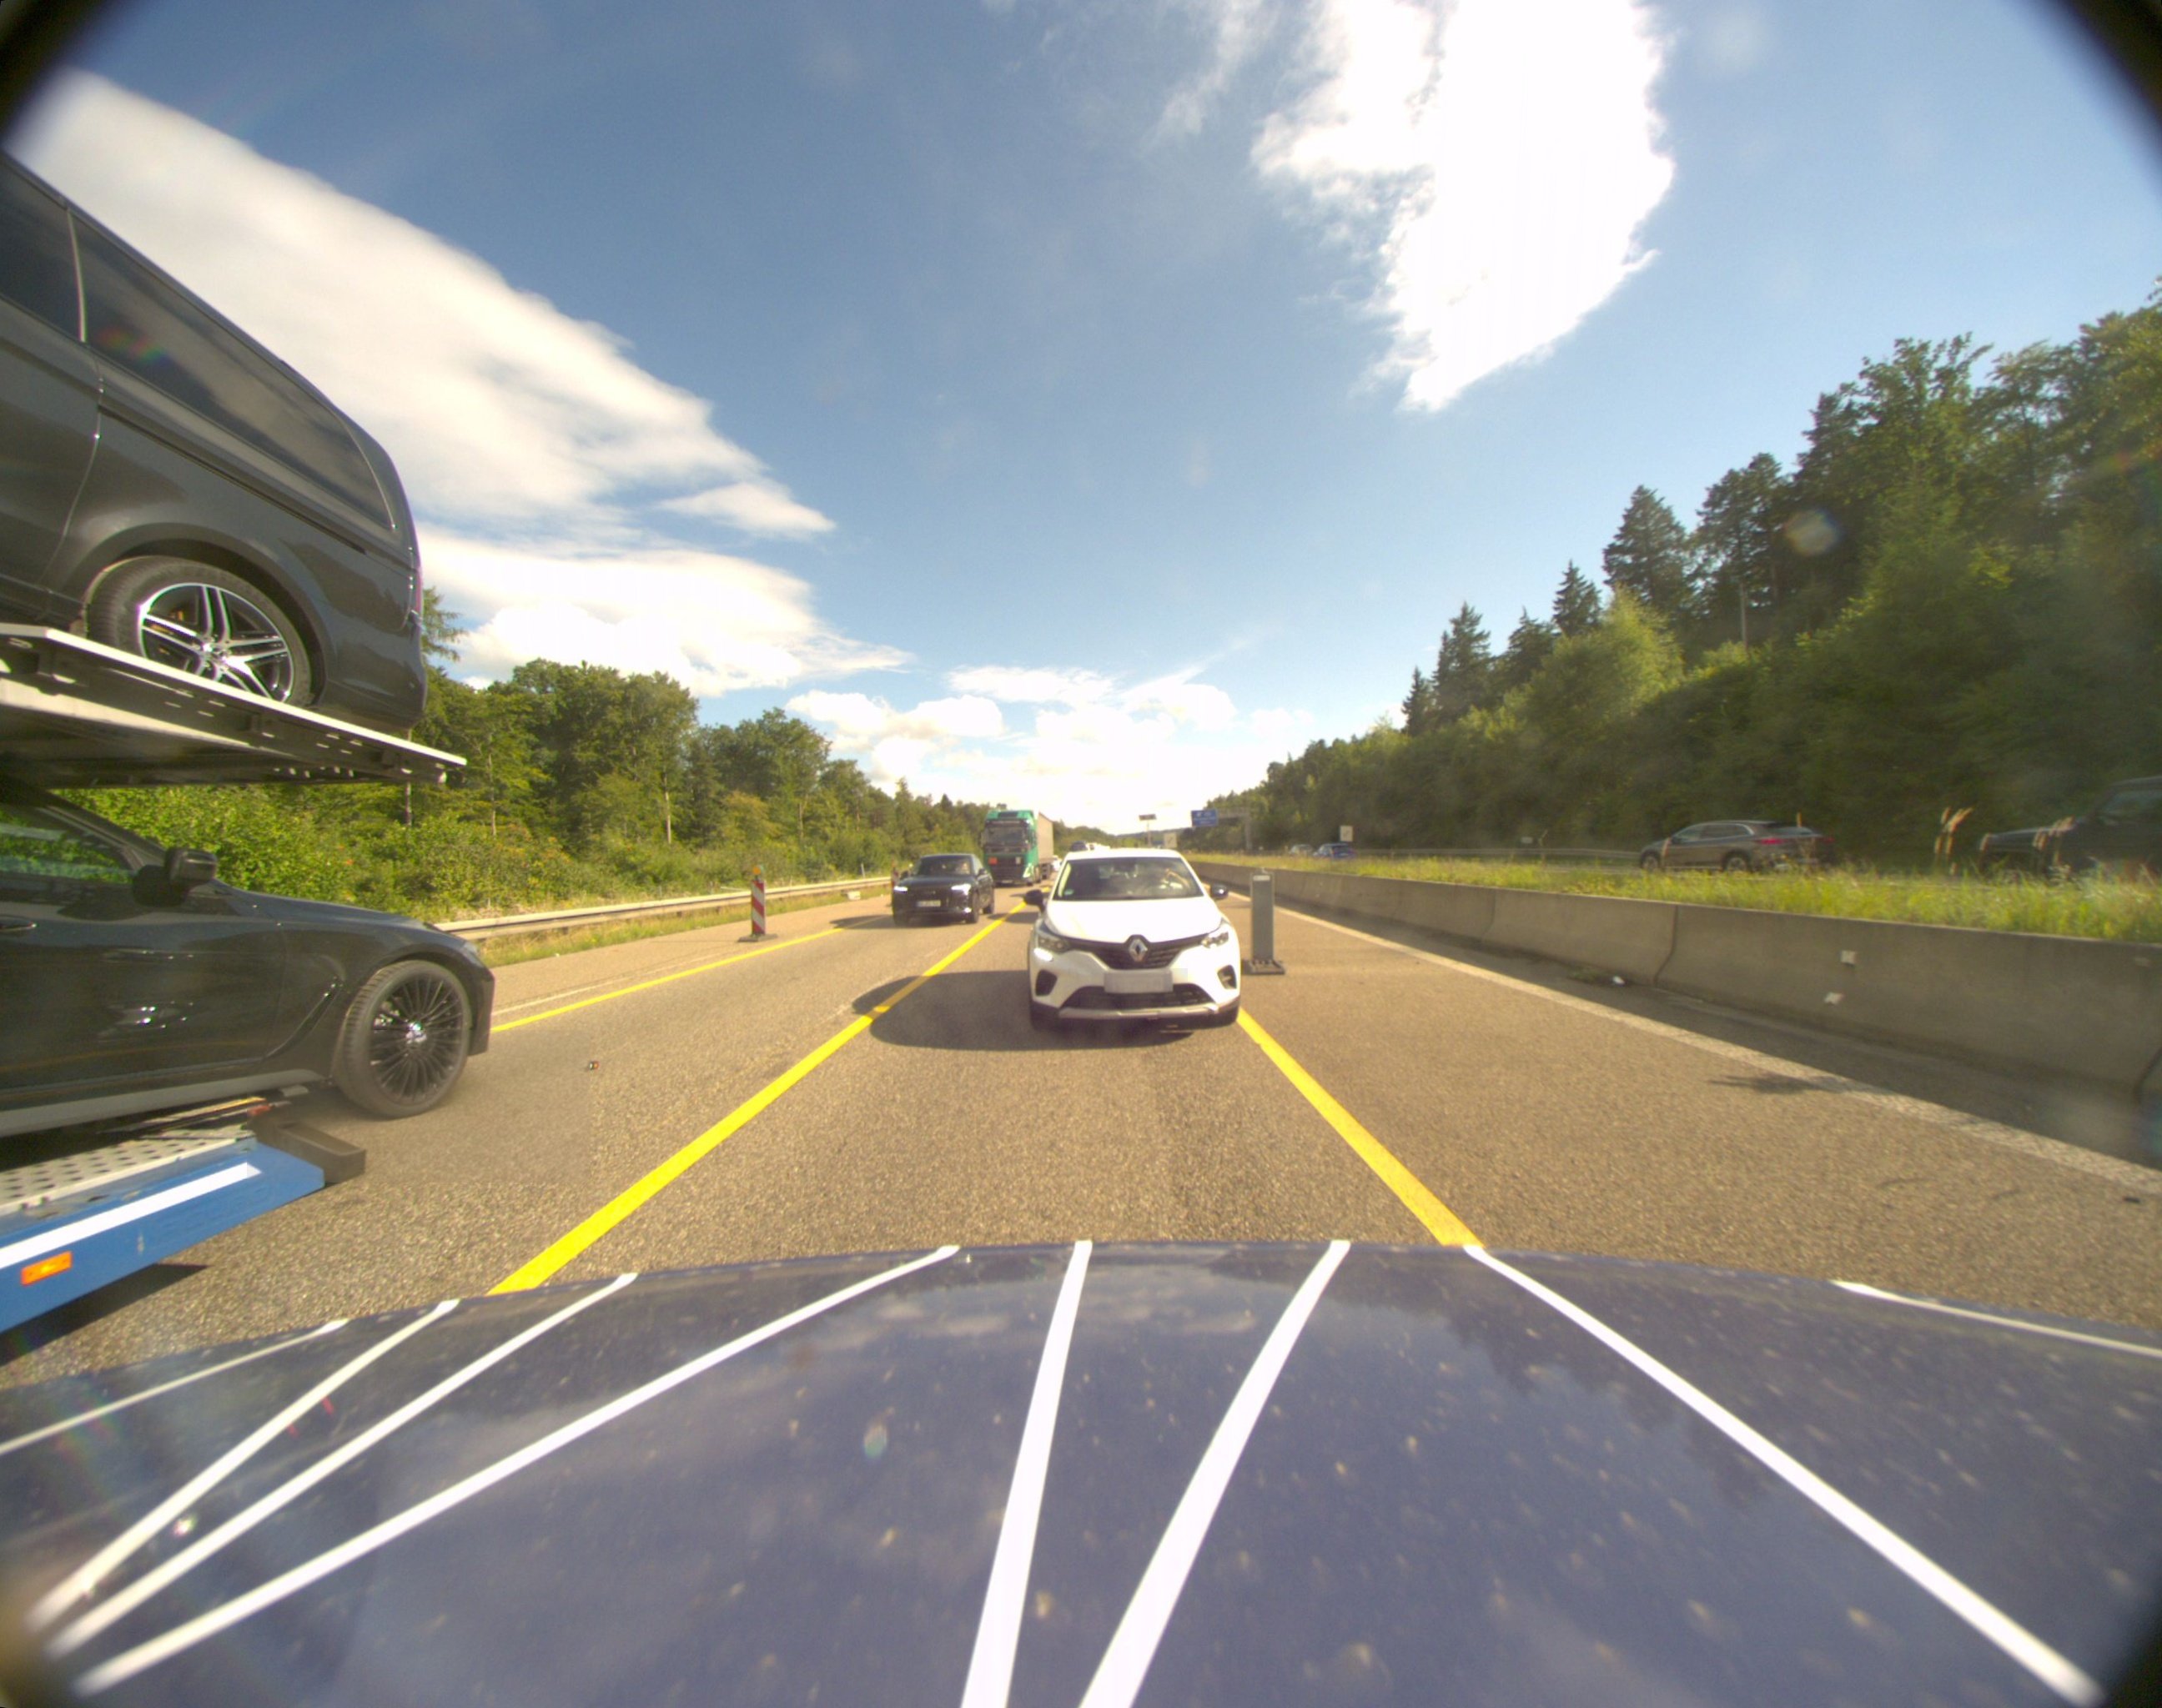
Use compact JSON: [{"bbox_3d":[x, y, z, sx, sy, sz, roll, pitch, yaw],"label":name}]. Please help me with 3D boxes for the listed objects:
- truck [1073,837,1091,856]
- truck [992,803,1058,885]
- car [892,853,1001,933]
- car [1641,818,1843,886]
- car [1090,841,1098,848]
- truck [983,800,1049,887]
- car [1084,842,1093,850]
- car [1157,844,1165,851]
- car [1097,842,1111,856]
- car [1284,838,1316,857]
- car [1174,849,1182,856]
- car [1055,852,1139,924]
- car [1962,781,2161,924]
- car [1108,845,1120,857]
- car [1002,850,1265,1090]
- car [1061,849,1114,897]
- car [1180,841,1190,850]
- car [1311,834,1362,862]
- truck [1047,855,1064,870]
[{"bbox_3d":[0.188,-1.264,132.219,2.576,3.168,6.802,-2,1,3],"label":"truck"},{"bbox_3d":[-3.115,-0.632,46.264,2.470,4.120,14.208,-2,1,1],"label":"truck"},{"bbox_3d":[-3.102,0.836,18.426,1.782,1.593,4.293,-2,1,1],"label":"car"},{"bbox_3d":[18.582,-0.089,21.715,1.782,1.679,4.616,-2,1,1],"label":"car"},{"bbox_3d":[3.167,-2.331,184.578,1.750,1.787,3.999,-2,1,0],"label":"car"},{"bbox_3d":[-3.289,-0.535,39.957,2.528,4.076,6.856,-2,1,2],"label":"truck"},{"bbox_3d":[1.543,-1.713,163.319,1.750,1.787,3.999,-2,1,0],"label":"car"},{"bbox_3d":[24.253,-2.104,230.043,1.998,2.002,3.999,-2,1,1],"label":"car"},{"bbox_3d":[3.581,-0.765,118.825,1.998,2.002,3.999,-2,1,1],"label":"car"},{"bbox_3d":[20.140,-0.632,69.979,1.782,1.593,4.017,-2,1,1],"label":"car"},{"bbox_3d":[29.205,-0.510,228.406,1.998,2.002,3.999,-2,1,1],"label":"car"},{"bbox_3d":[0.380,0.754,18.726,1.782,1.468,4.017,-2,1,1],"label":"car"},{"bbox_3d":[15.155,-0.049,9.999,1.782,1.891,4.616,-2,1,1],"label":"car"},{"bbox_3d":[5.807,-0.490,134.784,1.998,2.002,4.000,-2,1,3],"label":"car"},{"bbox_3d":[0.394,0.805,7.340,1.782,1.593,4.017,-2,1,1],"label":"car"},{"bbox_3d":[0.253,0.642,28.675,1.782,1.593,4.017,-2,1,1],"label":"car"},{"bbox_3d":[26.070,-2.164,190.618,1.998,2.002,3.999,-2,1,1],"label":"car"},{"bbox_3d":[16.304,-0.398,48.704,1.782,1.593,4.311,-2,1,1],"label":"car"},{"bbox_3d":[-2.327,0.750,68.602,1.468,1.215,3.087,-2,1,-2],"label":"truck"}]
